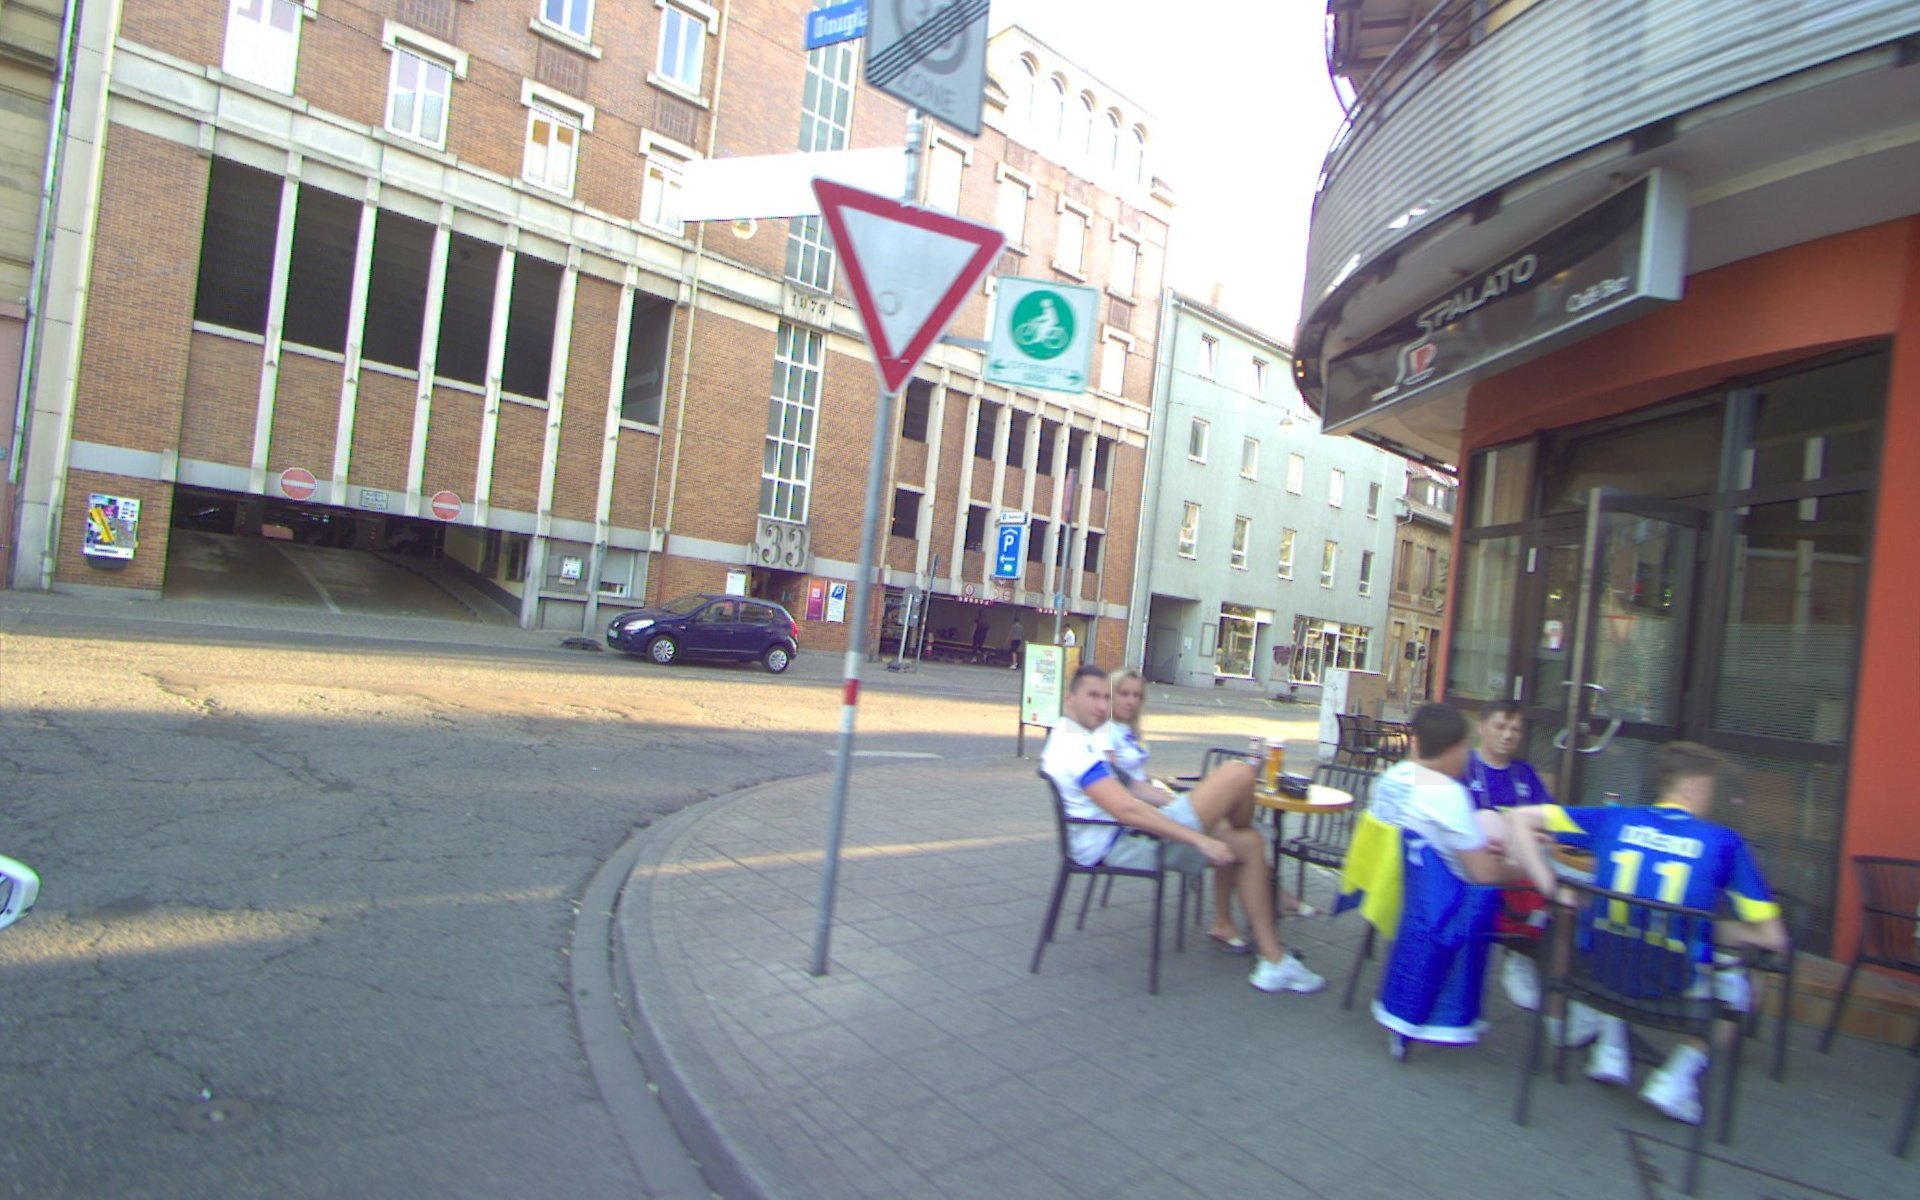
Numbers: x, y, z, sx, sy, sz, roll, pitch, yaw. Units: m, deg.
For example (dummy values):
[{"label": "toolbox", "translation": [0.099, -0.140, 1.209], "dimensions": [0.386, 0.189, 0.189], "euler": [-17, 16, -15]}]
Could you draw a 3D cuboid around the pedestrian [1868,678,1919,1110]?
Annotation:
[{"label": "pedestrian", "translation": [3.957, 1.124, 3.683], "dimensions": [0.745, 1.553, 0.643], "euler": [8, -2, -31]}]

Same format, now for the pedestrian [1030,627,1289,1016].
[{"label": "pedestrian", "translation": [0.782, 0.851, 4.205], "dimensions": [0.823, 1.399, 0.771], "euler": [5, 0, 1]}]

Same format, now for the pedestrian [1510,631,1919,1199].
[{"label": "pedestrian", "translation": [2.324, 0.924, 3.212], "dimensions": [0.838, 1.557, 0.712], "euler": [6, 4, 28]}]

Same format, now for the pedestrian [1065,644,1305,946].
[{"label": "pedestrian", "translation": [1.066, 0.907, 4.955], "dimensions": [0.949, 1.297, 0.686], "euler": [4, 0, 2]}]

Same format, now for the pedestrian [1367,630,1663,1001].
[{"label": "pedestrian", "translation": [2.603, 0.969, 4.795], "dimensions": [0.838, 1.553, 0.714], "euler": [7, -1, -8]}]

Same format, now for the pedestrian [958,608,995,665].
[{"label": "pedestrian", "translation": [0.582, 1.262, 34.759], "dimensions": [0.881, 1.855, 0.636], "euler": [6, 0, 28]}]

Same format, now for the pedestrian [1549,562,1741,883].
[{"label": "pedestrian", "translation": [4.832, 0.818, 7.084], "dimensions": [0.843, 2.038, 0.907], "euler": [6, 0, 41]}]

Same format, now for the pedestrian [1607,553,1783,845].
[{"label": "pedestrian", "translation": [5.608, 0.728, 7.675], "dimensions": [0.850, 2.037, 0.811], "euler": [6, -1, 42]}]

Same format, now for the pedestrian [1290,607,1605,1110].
[{"label": "pedestrian", "translation": [1.794, 0.863, 3.702], "dimensions": [0.680, 1.555, 0.710], "euler": [9, 2, 44]}]

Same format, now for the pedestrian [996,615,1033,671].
[{"label": "pedestrian", "translation": [1.852, 1.455, 34.130], "dimensions": [0.881, 1.771, 0.674], "euler": [6, 0, 28]}]

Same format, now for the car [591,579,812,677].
[{"label": "car", "translation": [-5.423, 0.620, 21.294], "dimensions": [3.970, 1.538, 1.979], "euler": [8, -1, -39]}]

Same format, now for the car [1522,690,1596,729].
[{"label": "car", "translation": [30.375, 5.545, 50.963], "dimensions": [3.971, 1.570, 1.978], "euler": [8, -2, -41]}]

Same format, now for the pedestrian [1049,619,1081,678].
[{"label": "pedestrian", "translation": [3.450, 1.606, 33.051], "dimensions": [0.668, 1.850, 0.674], "euler": [6, 0, 28]}]
